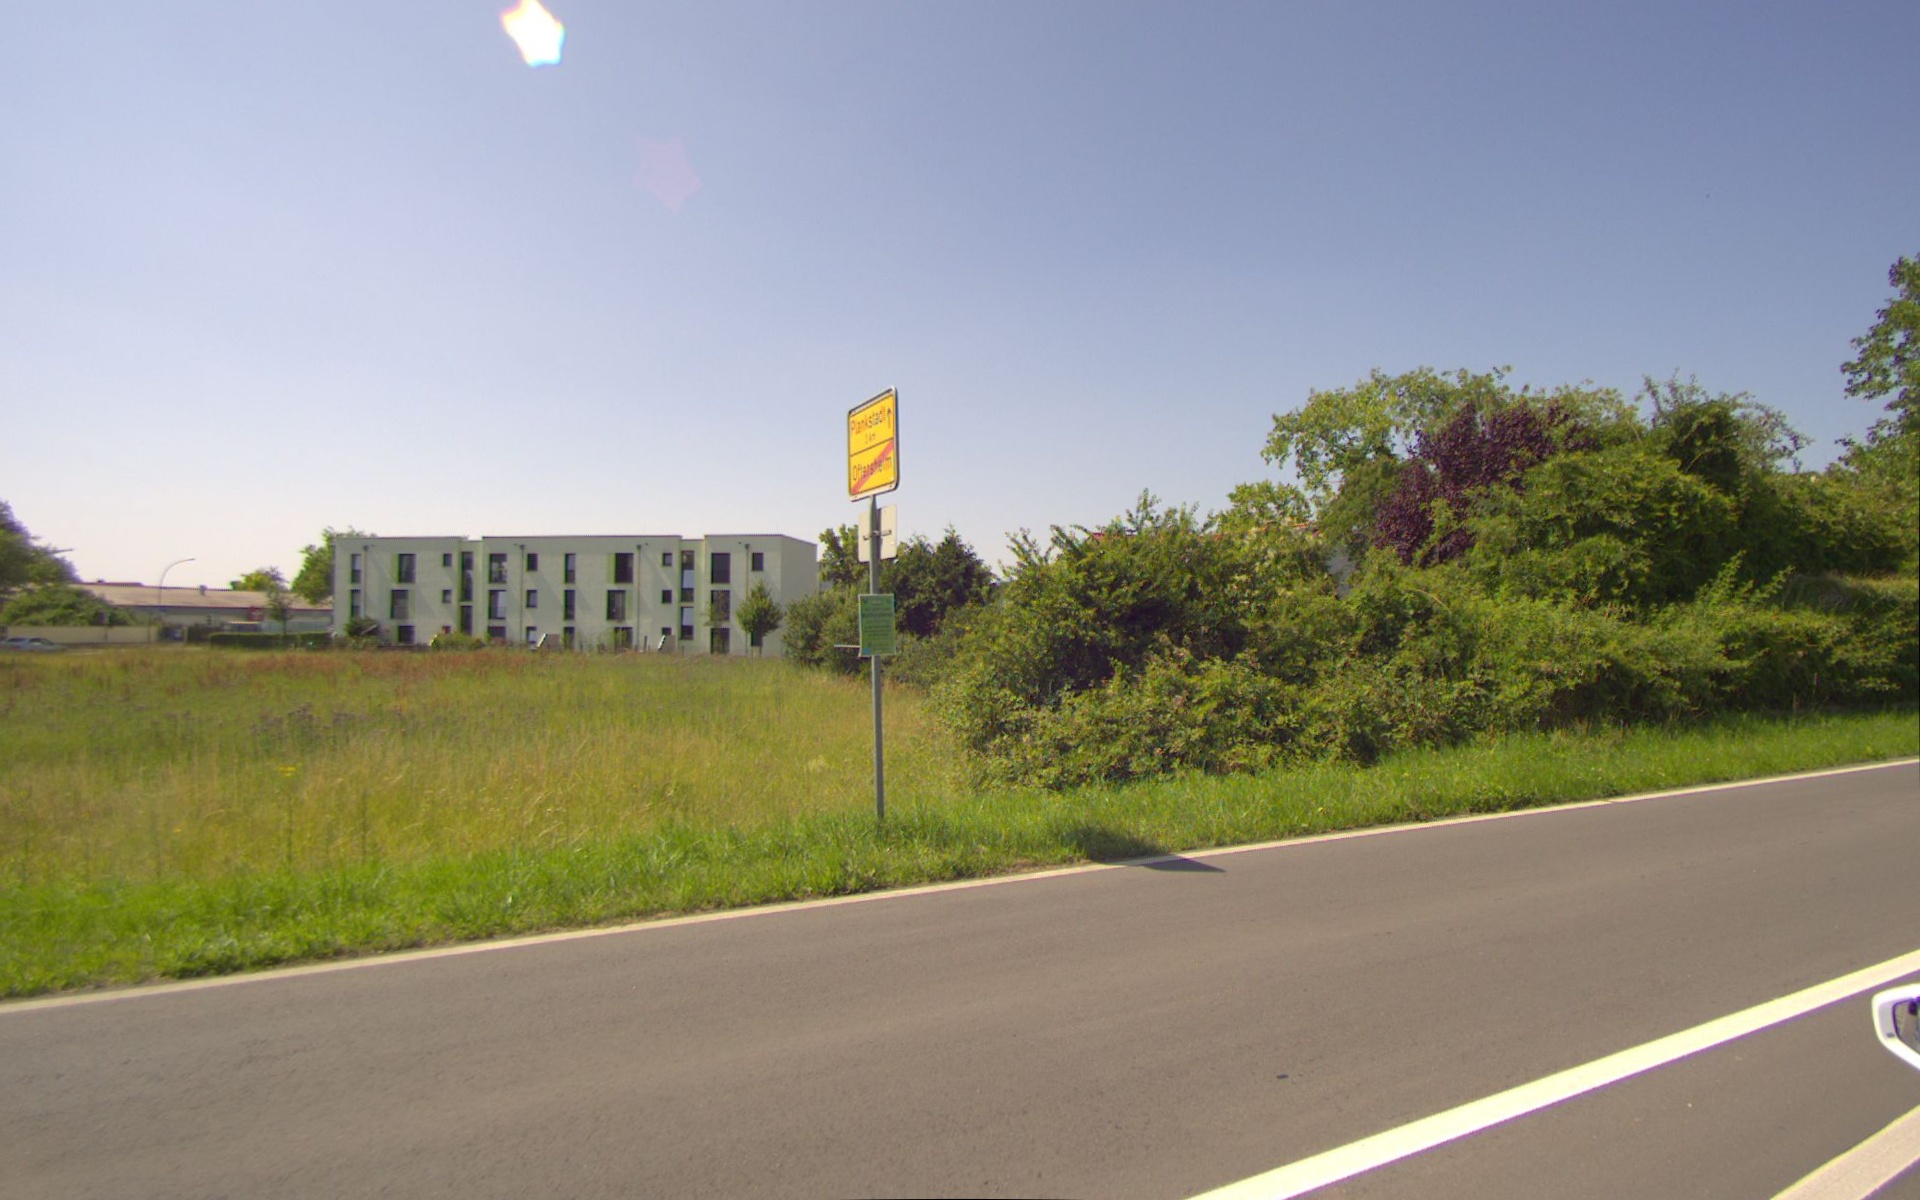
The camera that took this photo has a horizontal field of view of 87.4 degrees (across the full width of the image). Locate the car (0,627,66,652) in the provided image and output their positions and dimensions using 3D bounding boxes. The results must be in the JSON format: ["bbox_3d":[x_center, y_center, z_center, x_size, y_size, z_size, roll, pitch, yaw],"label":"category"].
[{"bbox_3d":[-59.479,2.515,63.976,1.612,1.490,4.409,1,-1,-9],"label":"car"}]
